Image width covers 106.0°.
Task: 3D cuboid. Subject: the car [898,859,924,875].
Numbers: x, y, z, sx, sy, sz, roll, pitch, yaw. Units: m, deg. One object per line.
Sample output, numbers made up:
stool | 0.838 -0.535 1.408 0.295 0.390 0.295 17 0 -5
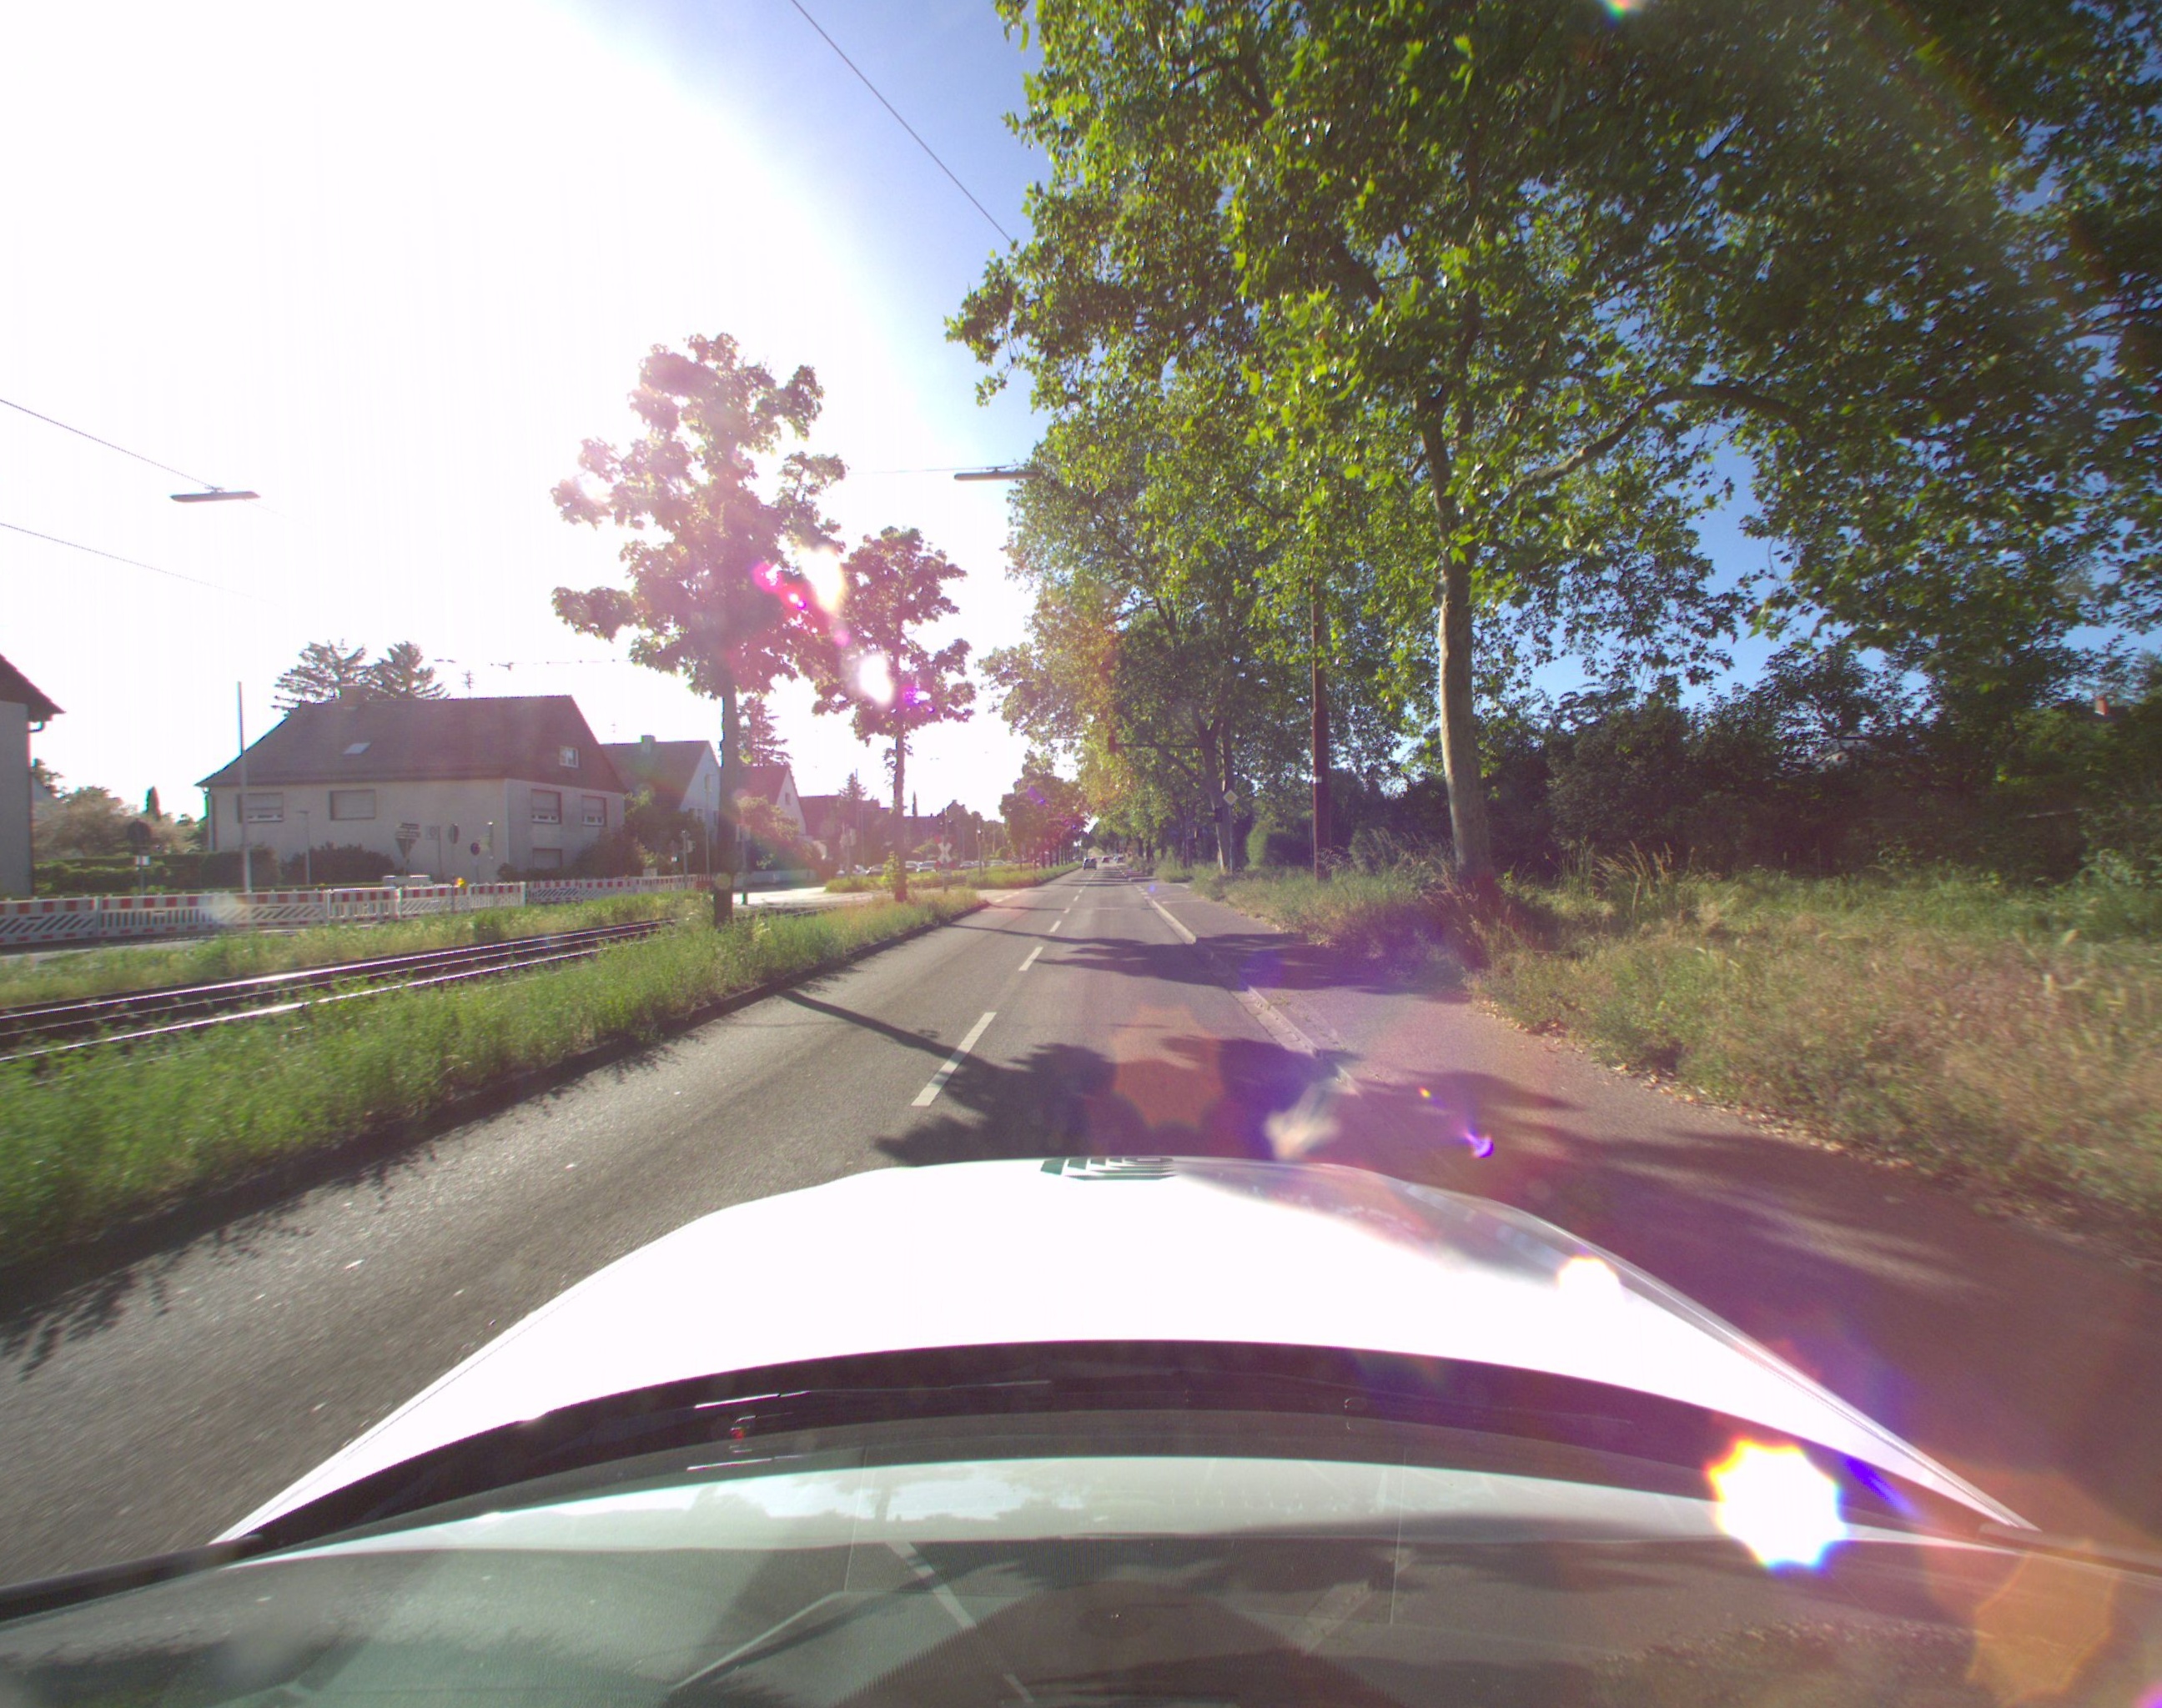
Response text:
car | -18.329 1.357 87.833 1.741 1.651 4.556 0 -1 1

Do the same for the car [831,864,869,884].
car | -19.107 1.620 67.503 1.853 1.542 4.229 0 -1 1

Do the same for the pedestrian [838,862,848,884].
pedestrian | -21.347 1.692 72.997 0.678 2.014 0.772 0 -1 1

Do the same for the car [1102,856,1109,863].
car | 6.220 1.420 205.236 1.785 1.559 4.229 0 -1 1

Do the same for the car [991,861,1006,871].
car | -12.544 1.831 123.929 1.654 1.552 4.811 0 -1 1

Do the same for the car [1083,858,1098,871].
car | 1.190 1.300 101.104 1.853 1.601 4.229 0 -1 1

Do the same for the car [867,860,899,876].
car | -18.492 1.300 76.212 1.723 1.466 4.603 0 -1 1

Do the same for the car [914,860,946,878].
car | -13.924 1.352 75.278 1.986 1.603 4.474 0 -1 1

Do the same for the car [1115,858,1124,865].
car | 8.191 1.574 173.853 1.986 1.603 4.474 0 -1 1

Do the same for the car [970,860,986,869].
car | -17.120 1.795 135.451 1.853 1.431 4.463 0 -1 1

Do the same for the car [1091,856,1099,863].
car | 3.490 1.437 208.553 1.986 1.603 4.474 0 -1 1

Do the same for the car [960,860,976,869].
car | -17.434 1.634 125.599 1.853 1.413 4.159 0 -1 1
